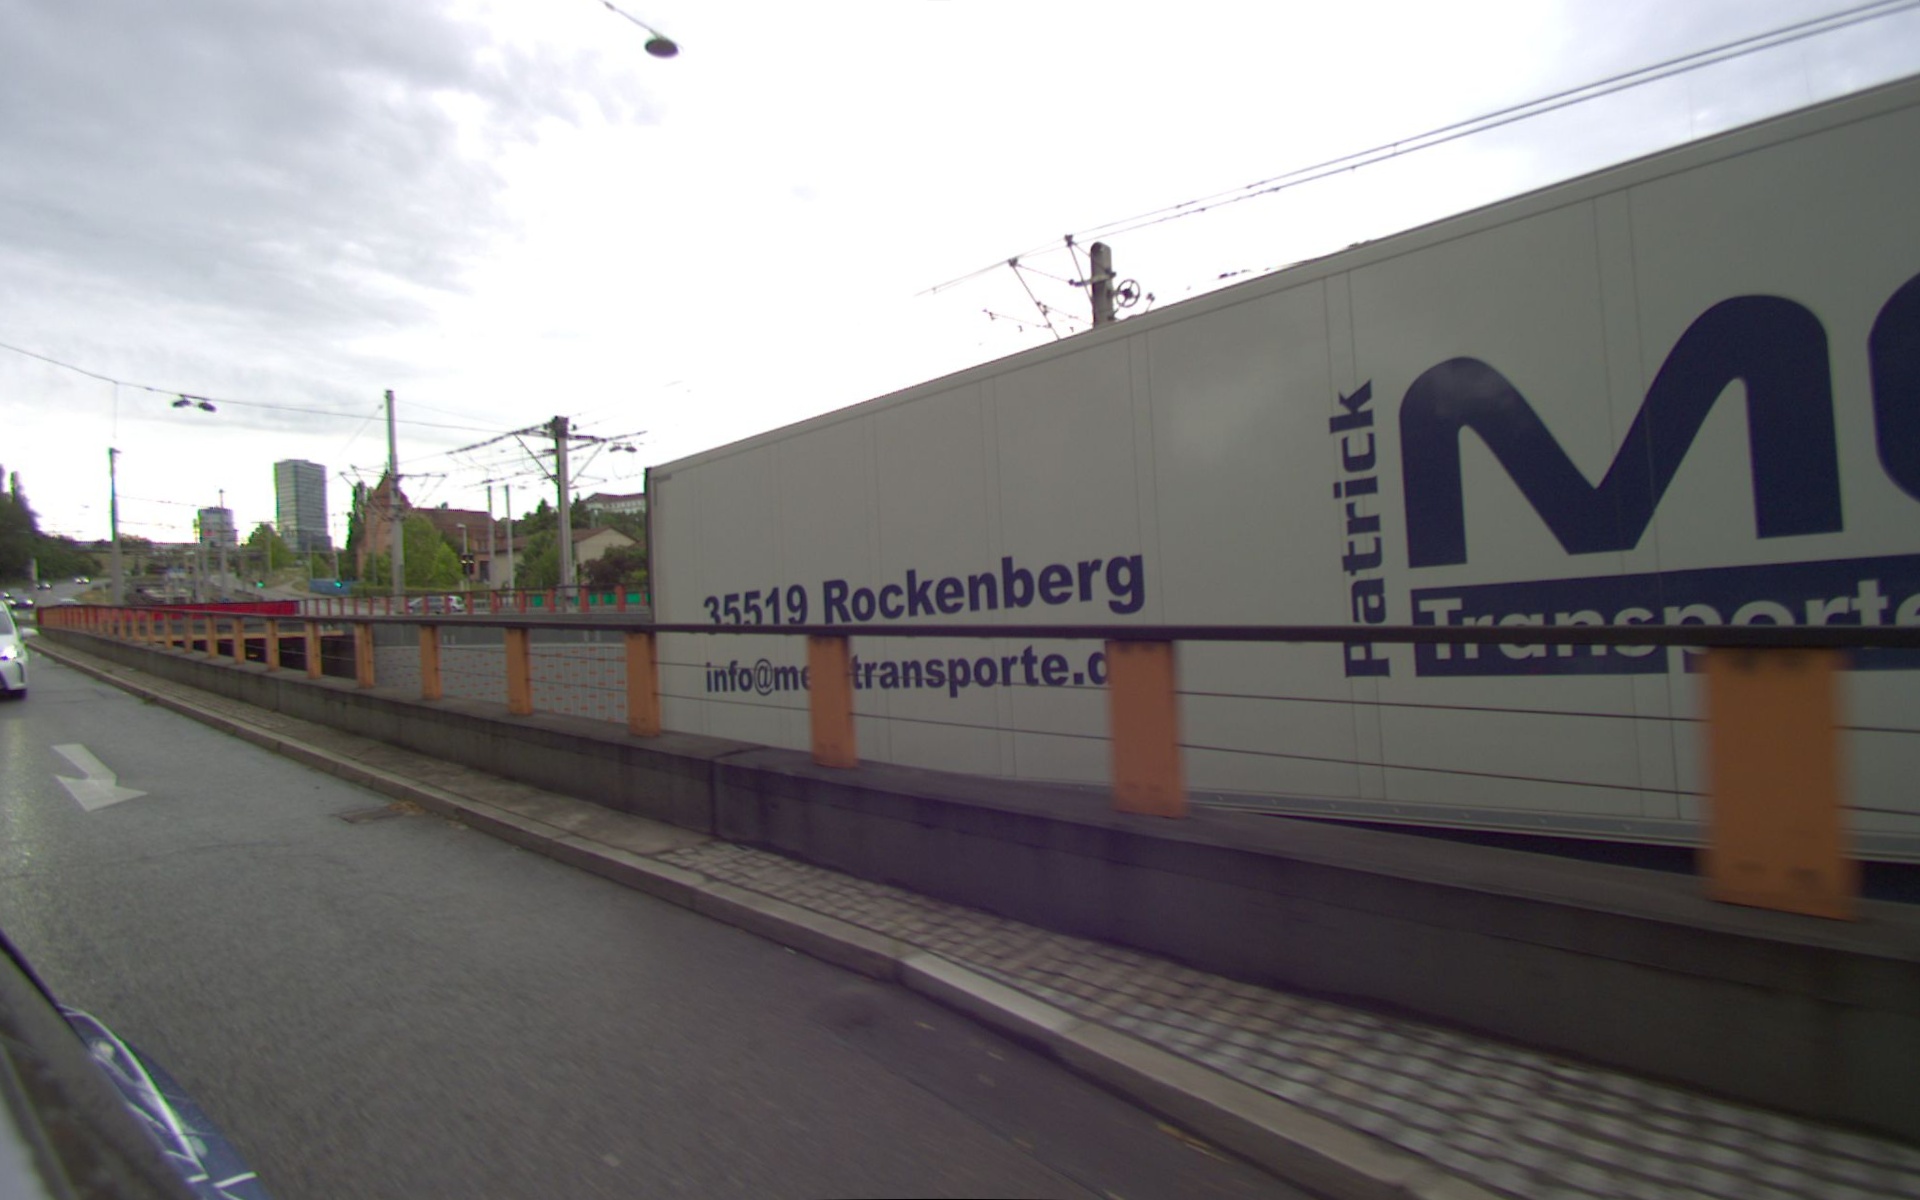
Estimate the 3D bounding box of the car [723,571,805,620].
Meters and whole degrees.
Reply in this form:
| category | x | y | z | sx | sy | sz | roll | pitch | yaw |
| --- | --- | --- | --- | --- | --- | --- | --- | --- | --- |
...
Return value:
| category | x | y | z | sx | sy | sz | roll | pitch | yaw |
| --- | --- | --- | --- | --- | --- | --- | --- | --- | --- |
| car | -11.998 | -0.246 | 61.780 | 5.719 | 2.853 | 1.971 | -1 | 0 | 44 |

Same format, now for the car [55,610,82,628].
| category | x | y | z | sx | sy | sz | roll | pitch | yaw |
| --- | --- | --- | --- | --- | --- | --- | --- | --- | --- |
| car | -91.910 | 1.962 | 104.338 | 1.712 | 1.599 | 4.009 | -2 | 3 | -37 |

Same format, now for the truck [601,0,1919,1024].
| category | x | y | z | sx | sy | sz | roll | pitch | yaw |
| --- | --- | --- | --- | --- | --- | --- | --- | --- | --- |
| truck | 2.193 | -0.580 | 6.412 | 13.031 | 4.229 | 2.732 | -2 | -1 | 43 |

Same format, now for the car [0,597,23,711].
| category | x | y | z | sx | sy | sz | roll | pitch | yaw |
| --- | --- | --- | --- | --- | --- | --- | --- | --- | --- |
| car | -16.771 | 0.828 | 16.649 | 4.002 | 1.764 | 1.830 | 0 | 0 | 45 |

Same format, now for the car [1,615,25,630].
| category | x | y | z | sx | sy | sz | roll | pitch | yaw |
| --- | --- | --- | --- | --- | --- | --- | --- | --- | --- |
| car | -105.091 | 2.468 | 112.302 | 1.777 | 1.482 | 4.002 | -3 | 2 | -45 |

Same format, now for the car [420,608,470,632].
| category | x | y | z | sx | sy | sz | roll | pitch | yaw |
| --- | --- | --- | --- | --- | --- | --- | --- | --- | --- |
| car | -47.501 | 1.823 | 93.320 | 3.933 | 2.028 | 2.006 | -2 | 3 | -33 |
